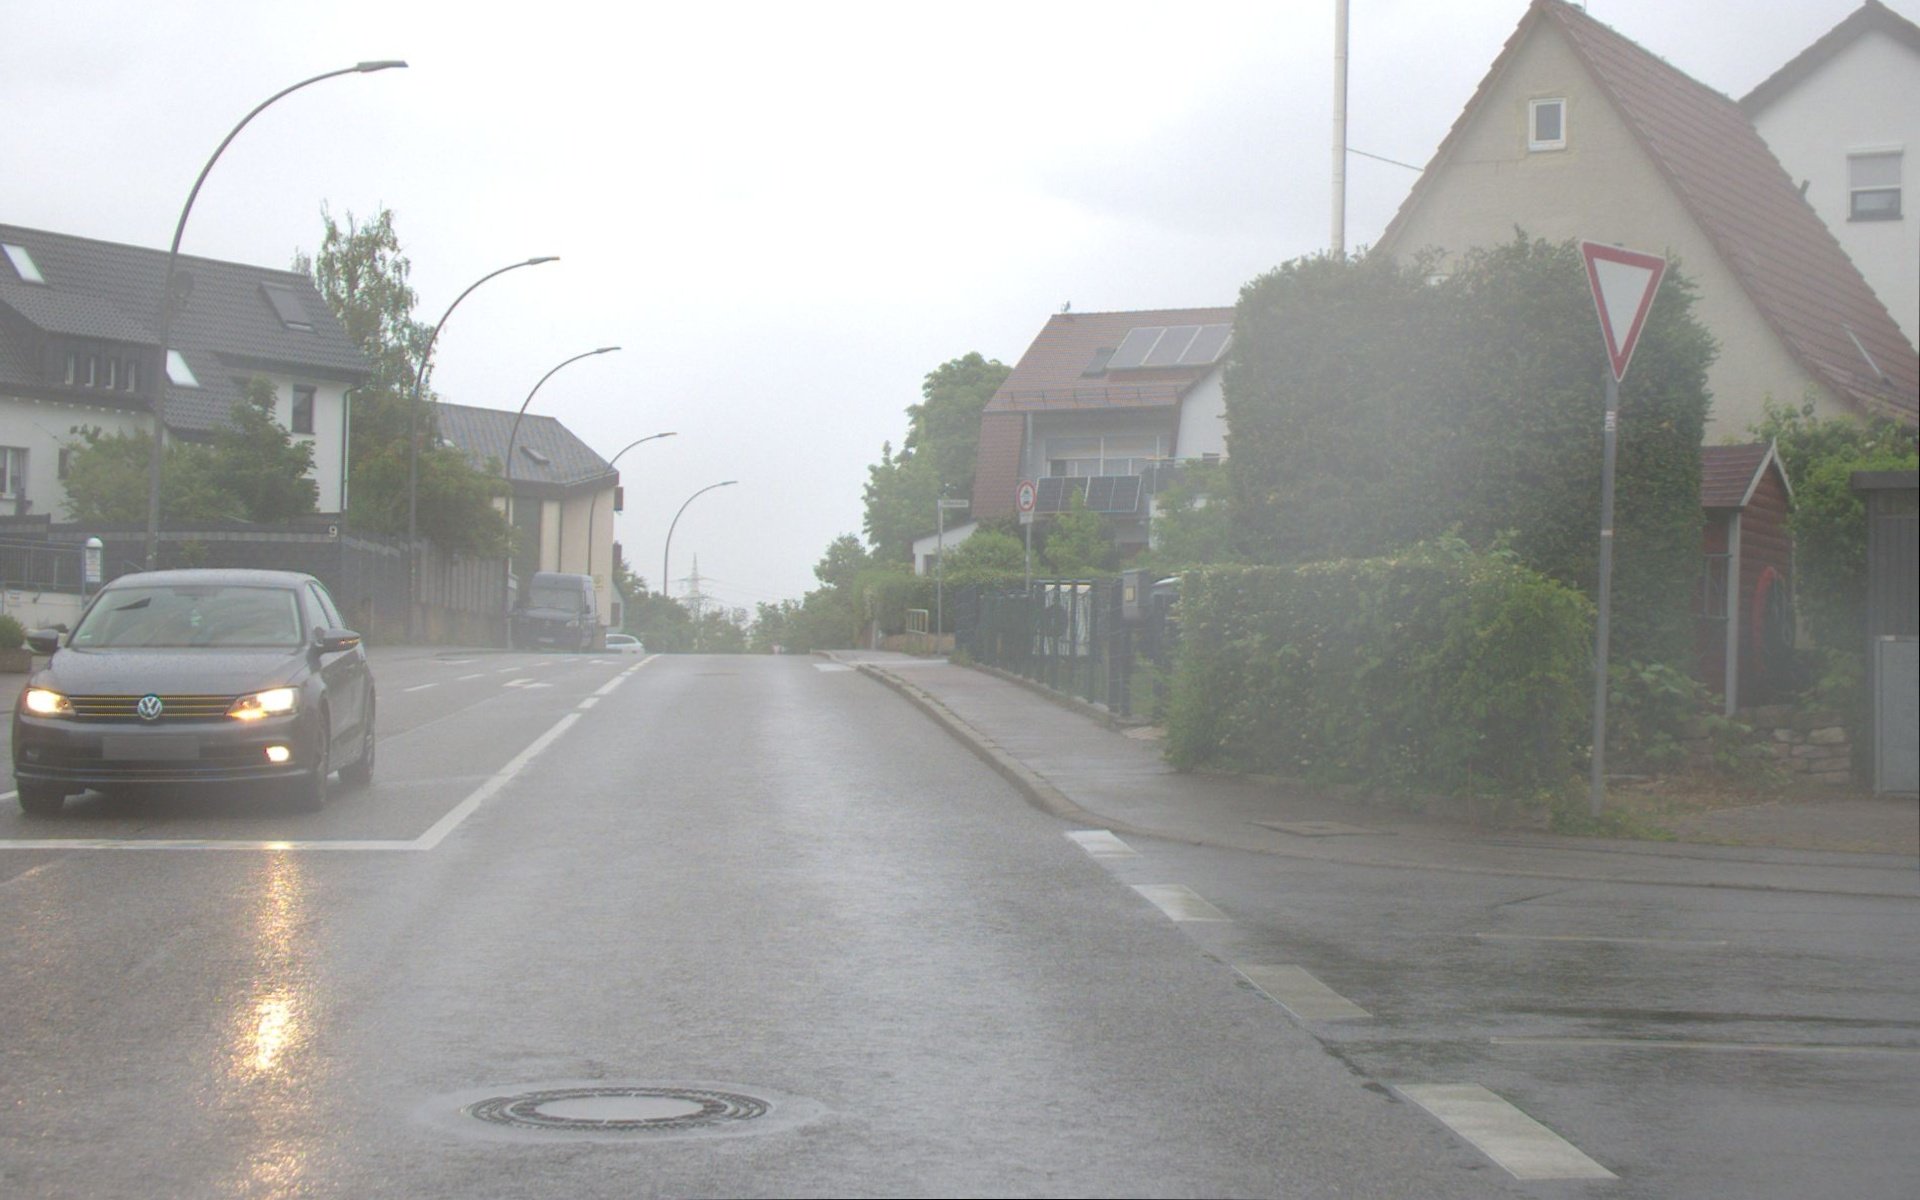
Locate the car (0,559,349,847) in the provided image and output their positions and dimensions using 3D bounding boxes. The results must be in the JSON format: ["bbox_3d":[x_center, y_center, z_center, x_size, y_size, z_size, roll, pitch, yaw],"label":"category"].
[{"bbox_3d":[-4.781,0.537,21.058,1.943,1.568,4.227,0,1,-9],"label":"car"}]

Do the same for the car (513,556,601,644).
[{"bbox_3d":[-12.938,0.026,110.612,2.094,2.640,5.918,2,-1,-1],"label":"car"}]

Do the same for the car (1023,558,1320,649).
[{"bbox_3d":[3.489,0.052,56.412,4.560,1.379,1.999,-1,1,14],"label":"car"}]

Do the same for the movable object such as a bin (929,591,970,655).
[{"bbox_3d":[-0.163,0.373,55.283,0.627,1.018,0.540,-1,0,2],"label":"movable object such as a bin"}]

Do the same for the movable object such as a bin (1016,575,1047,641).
[{"bbox_3d":[1.115,0.125,53.560,0.443,1.018,0.524,-1,0,5],"label":"movable object such as a bin"}]

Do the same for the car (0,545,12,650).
[{"bbox_3d":[-14.457,-0.061,45.608,1.903,1.437,3.825,3,1,15],"label":"car"}]

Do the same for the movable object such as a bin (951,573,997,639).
[{"bbox_3d":[0.223,0.090,53.613,0.530,1.018,0.732,-1,0,16],"label":"movable object such as a bin"}]
